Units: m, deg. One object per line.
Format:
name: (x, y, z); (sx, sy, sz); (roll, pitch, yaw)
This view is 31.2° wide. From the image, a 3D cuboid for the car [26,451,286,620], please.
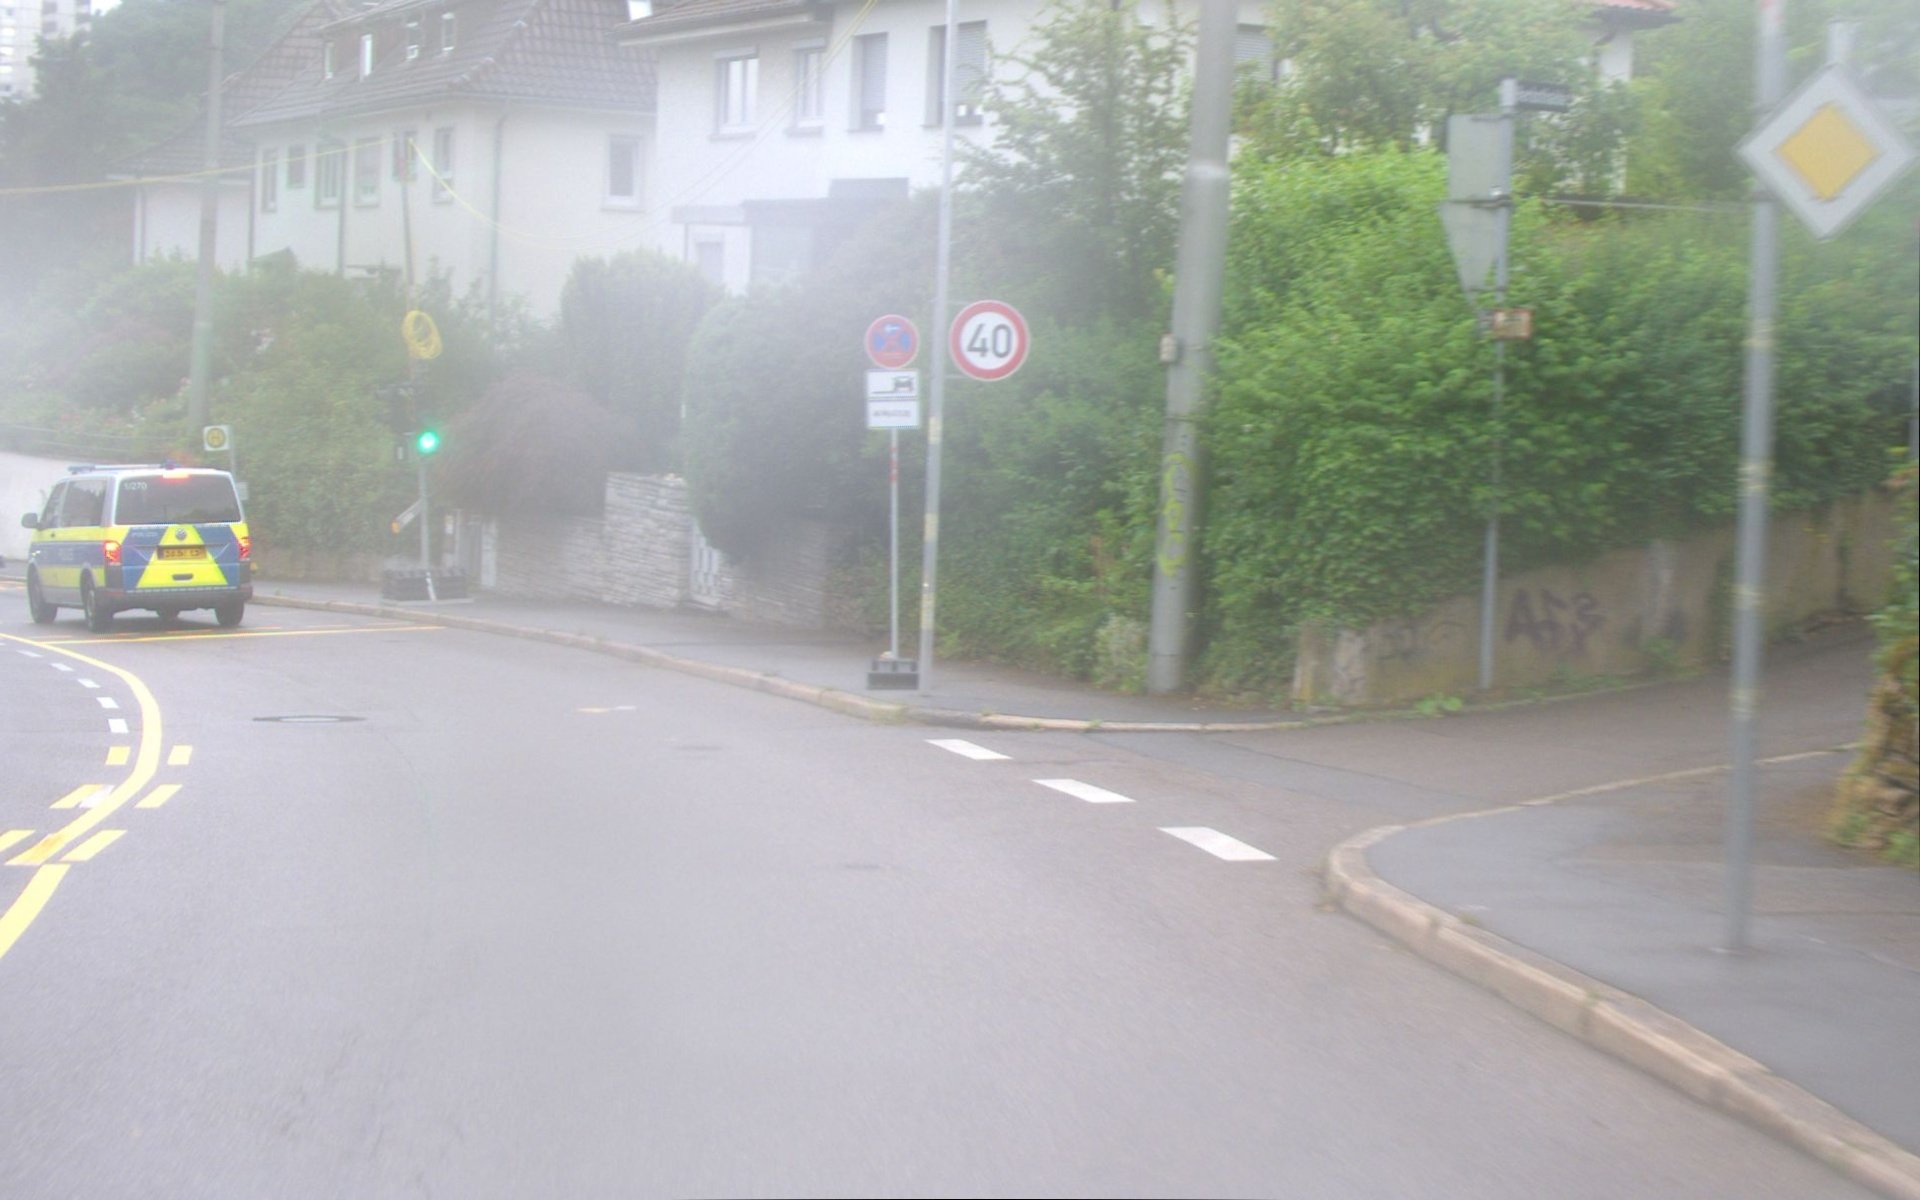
car: (-10.078, -0.829, 42.848); (2.308, 1.932, 4.326); (-2, 2, -24)
